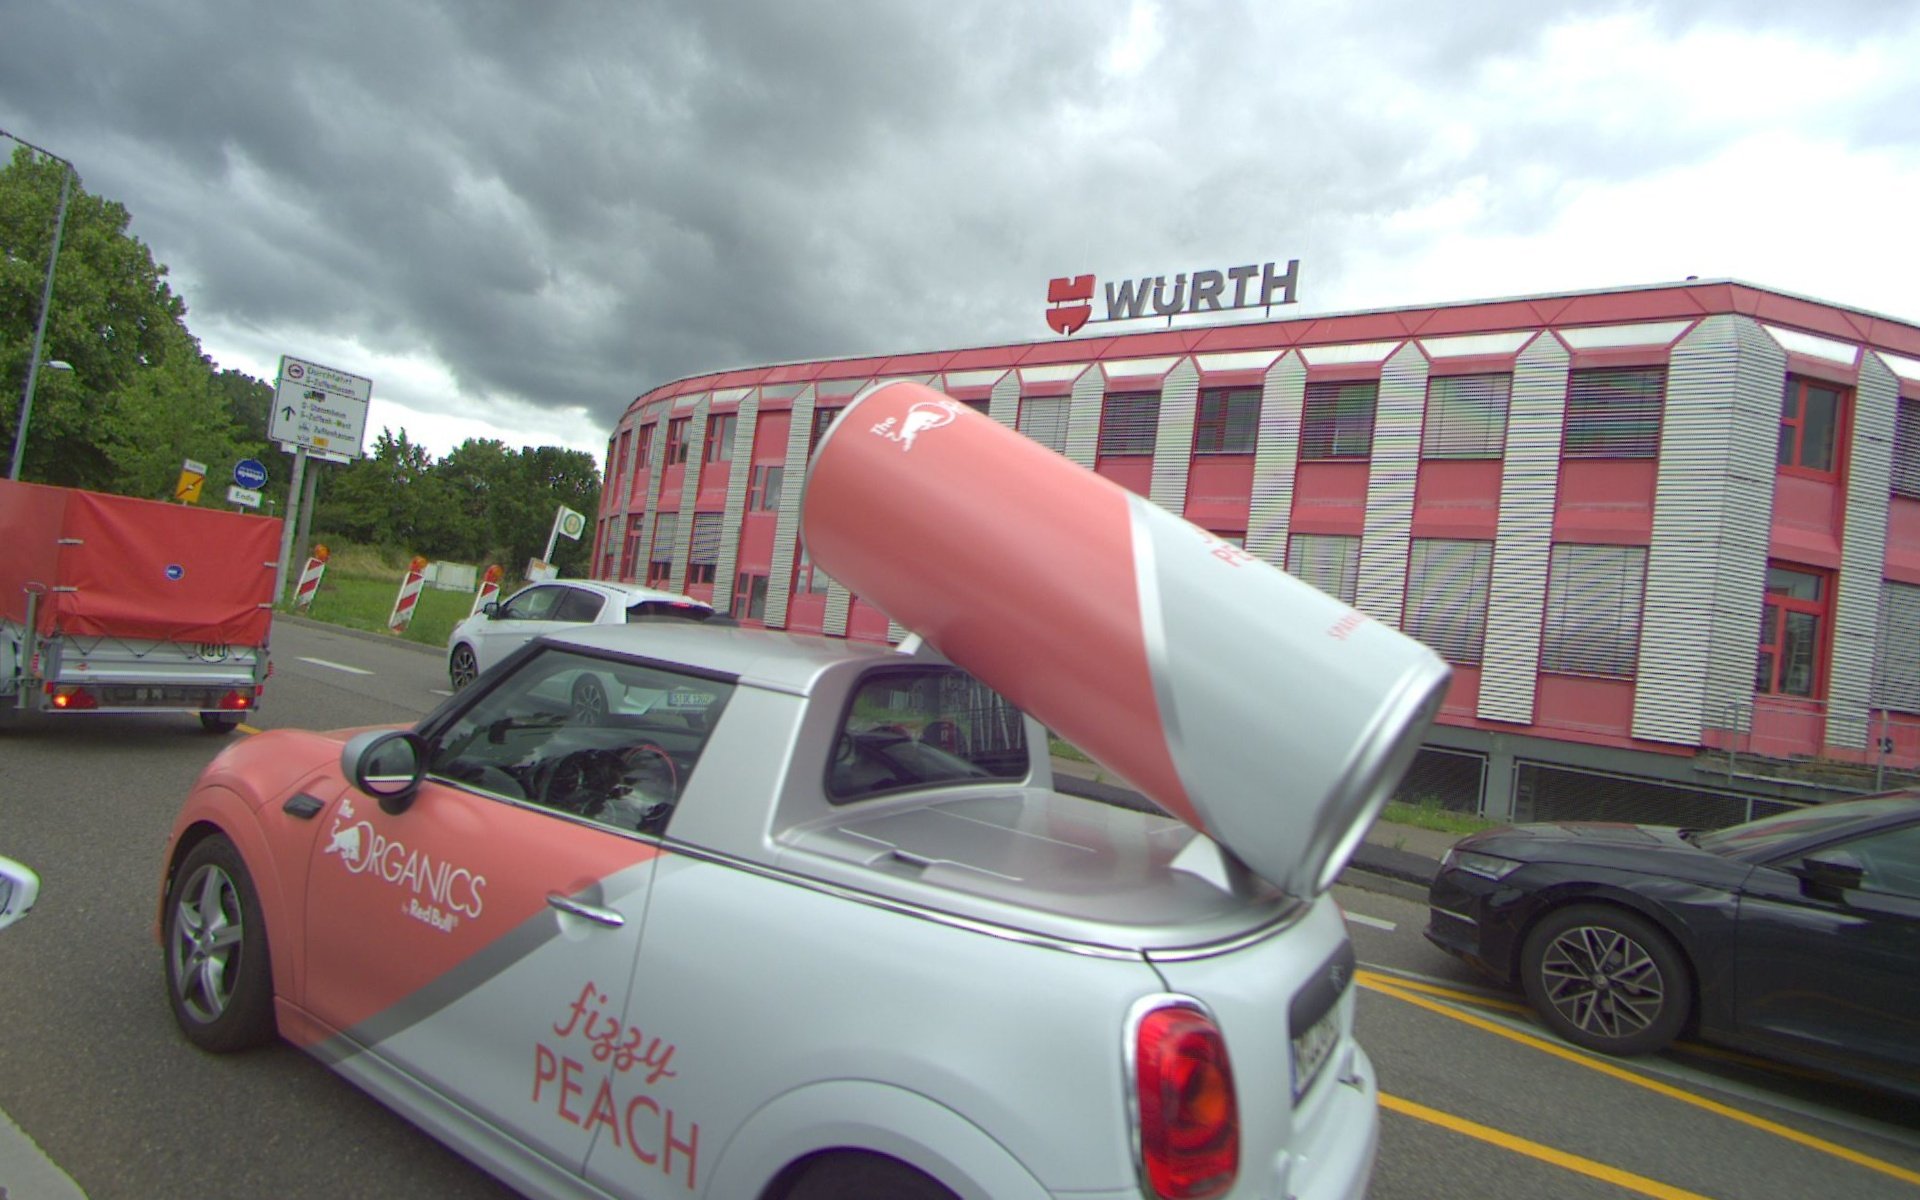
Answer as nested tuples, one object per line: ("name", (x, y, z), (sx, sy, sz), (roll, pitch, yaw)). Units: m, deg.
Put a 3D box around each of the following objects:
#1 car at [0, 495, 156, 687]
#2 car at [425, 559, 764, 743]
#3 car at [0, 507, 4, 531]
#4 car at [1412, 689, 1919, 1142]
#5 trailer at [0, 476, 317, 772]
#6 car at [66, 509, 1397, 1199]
("car", (-9.250, -0.268, 9.166), (4.418, 1.464, 1.674), (6, -2, 34))
("car", (-4.099, 0.516, 11.094), (3.632, 1.474, 1.624), (7, -2, 36))
("car", (-25.106, -1.732, 24.586), (3.007, 1.588, 1.575), (7, -3, 30))
("car", (4.486, 1.441, 4.295), (4.217, 1.449, 1.835), (7, -2, 40))
("trailer", (-6.088, 0.059, 7.005), (3.250, 1.612, 1.411), (7, -1, 34))
("car", (-0.791, 0.699, 3.081), (3.633, 1.474, 1.723), (6, -2, 29))
